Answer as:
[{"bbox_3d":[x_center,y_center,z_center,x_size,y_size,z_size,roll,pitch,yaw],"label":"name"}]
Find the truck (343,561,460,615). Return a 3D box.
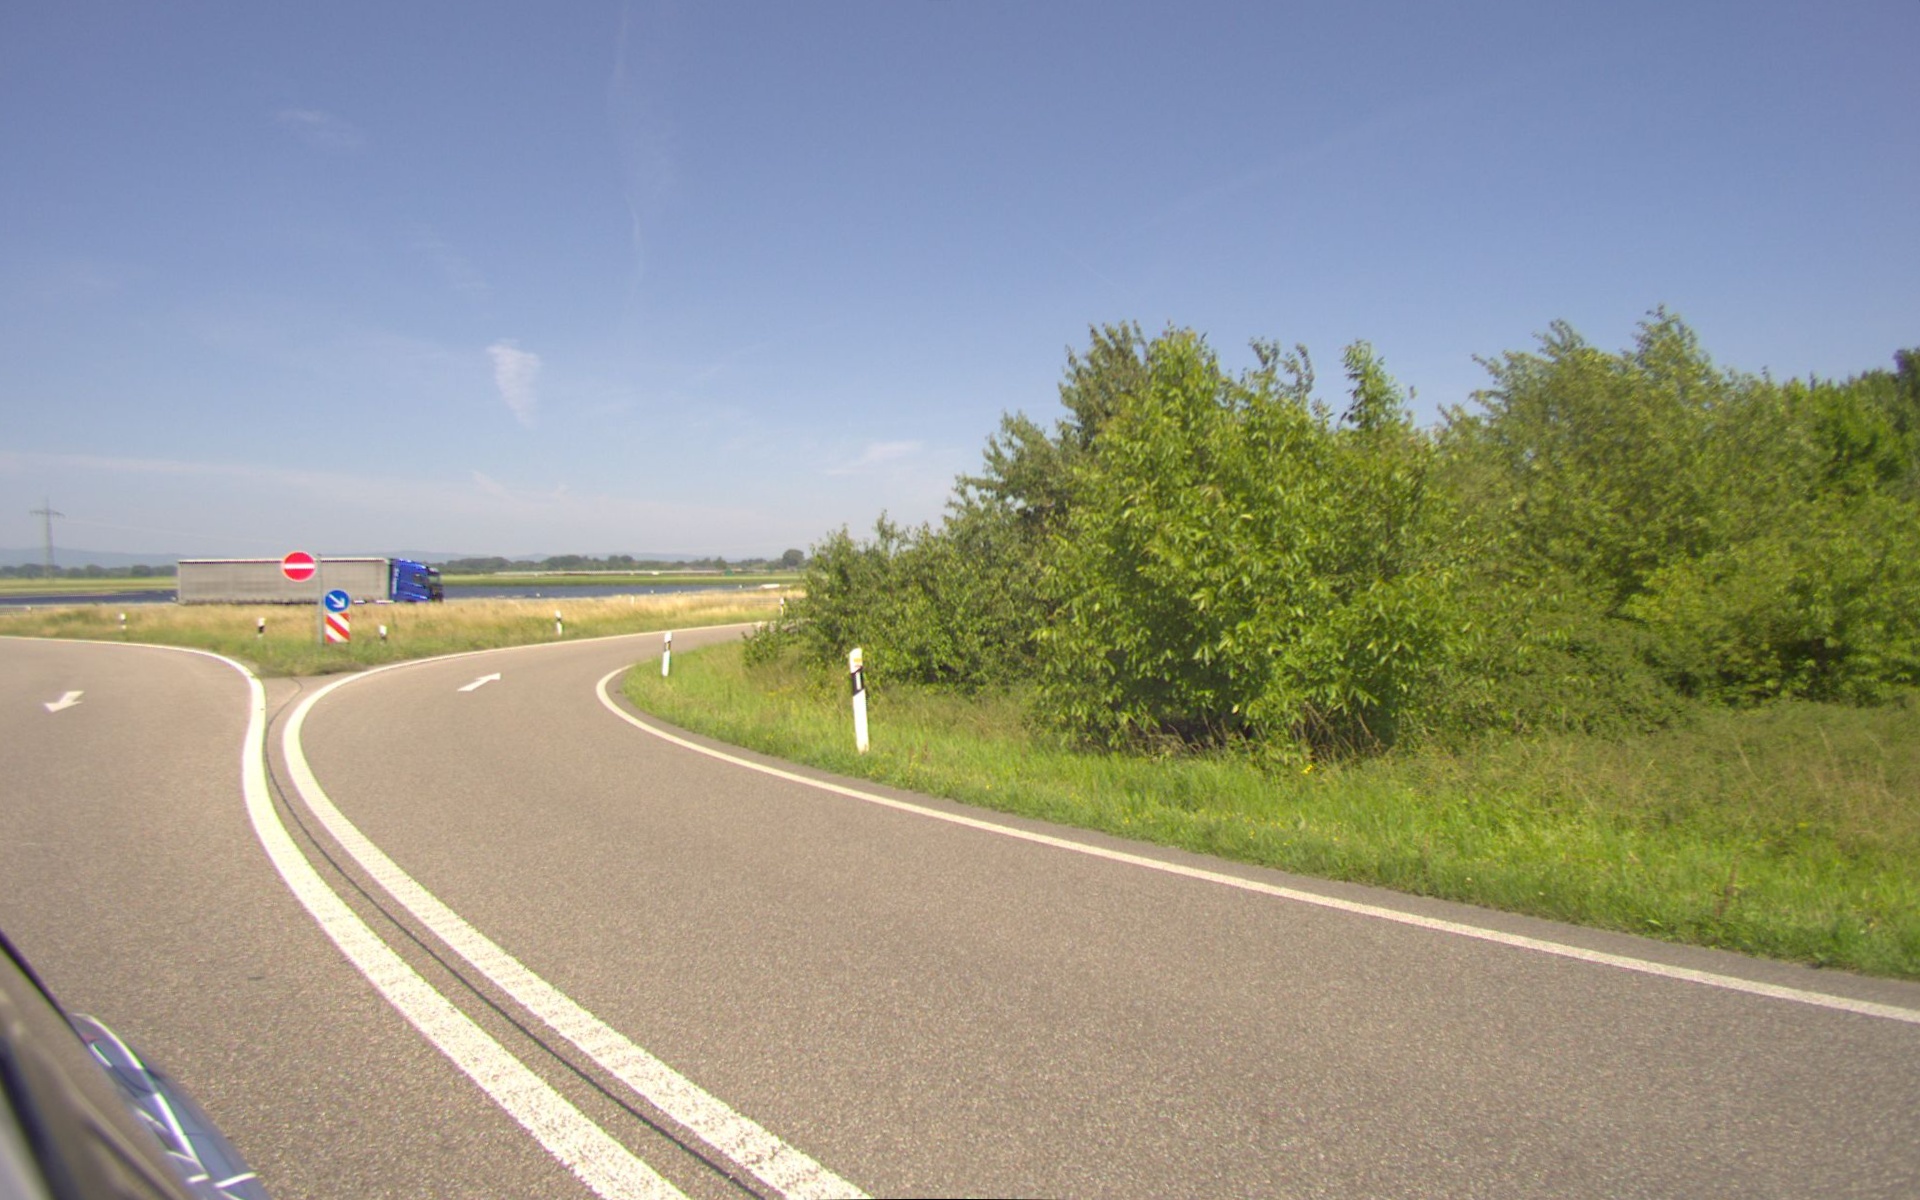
[{"bbox_3d":[-39.270,-0.820,71.346,6.528,3.693,3.120,0,0,-6],"label":"truck"}]

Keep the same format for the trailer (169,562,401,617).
[{"bbox_3d":[-46.849,-0.752,70.574,13.591,3.671,3.107,0,0,-6],"label":"trailer"}]
